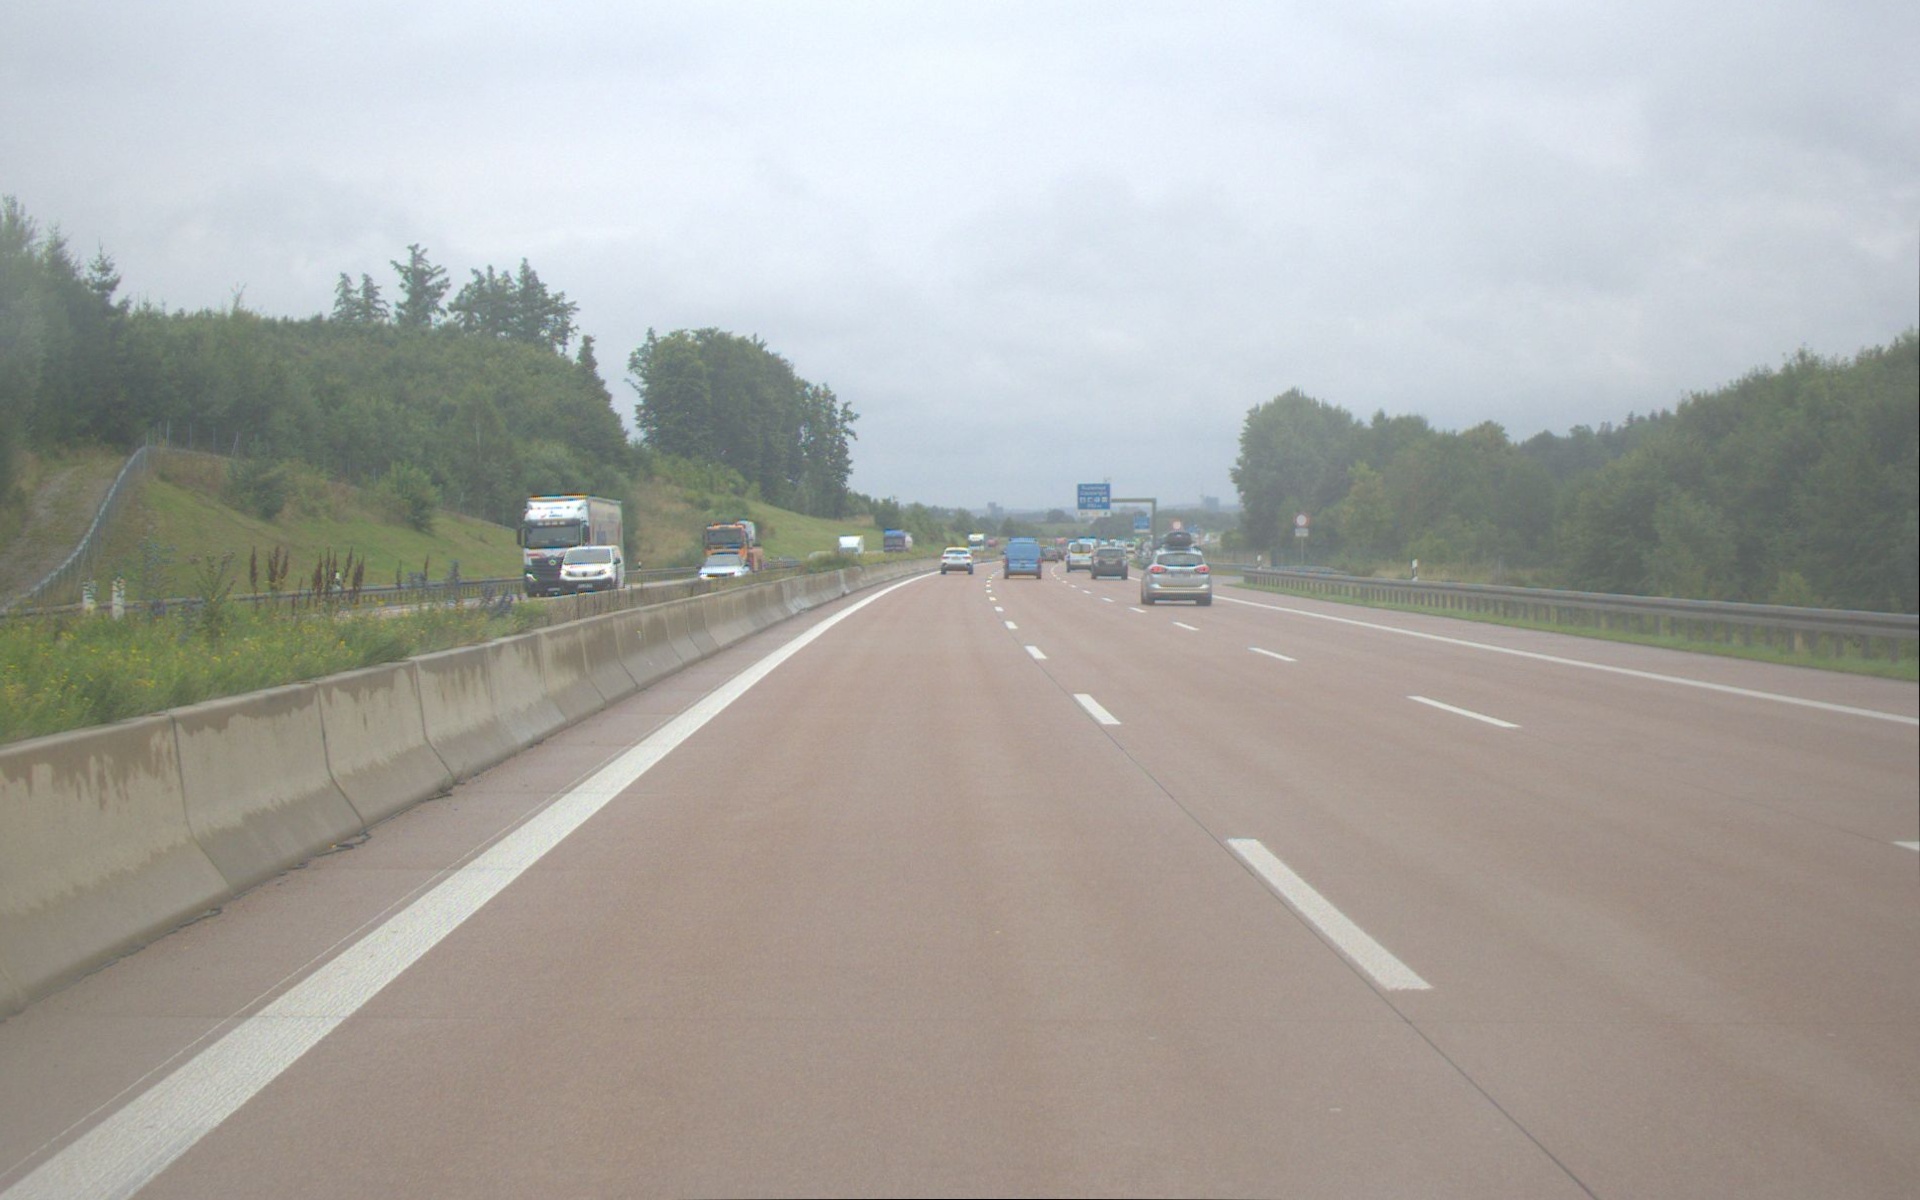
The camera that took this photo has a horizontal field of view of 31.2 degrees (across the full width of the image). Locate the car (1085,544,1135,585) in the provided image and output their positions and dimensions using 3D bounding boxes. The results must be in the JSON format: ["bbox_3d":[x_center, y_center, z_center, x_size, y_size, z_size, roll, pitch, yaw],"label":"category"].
[{"bbox_3d":[7.552,-1.776,173.354,1.993,2.007,4.000,1,0,-5],"label":"car"}]

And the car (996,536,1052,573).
[{"bbox_3d":[3.164,-2.241,171.799,2.322,1.744,4.877,1,0,-4],"label":"car"}]

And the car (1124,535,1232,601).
[{"bbox_3d":[6.022,-0.859,95.753,2.322,1.744,4.877,1,0,-4],"label":"car"}]

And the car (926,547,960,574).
[{"bbox_3d":[-1.014,-2.278,199.189,1.874,1.439,4.877,1,0,-1],"label":"car"}]
